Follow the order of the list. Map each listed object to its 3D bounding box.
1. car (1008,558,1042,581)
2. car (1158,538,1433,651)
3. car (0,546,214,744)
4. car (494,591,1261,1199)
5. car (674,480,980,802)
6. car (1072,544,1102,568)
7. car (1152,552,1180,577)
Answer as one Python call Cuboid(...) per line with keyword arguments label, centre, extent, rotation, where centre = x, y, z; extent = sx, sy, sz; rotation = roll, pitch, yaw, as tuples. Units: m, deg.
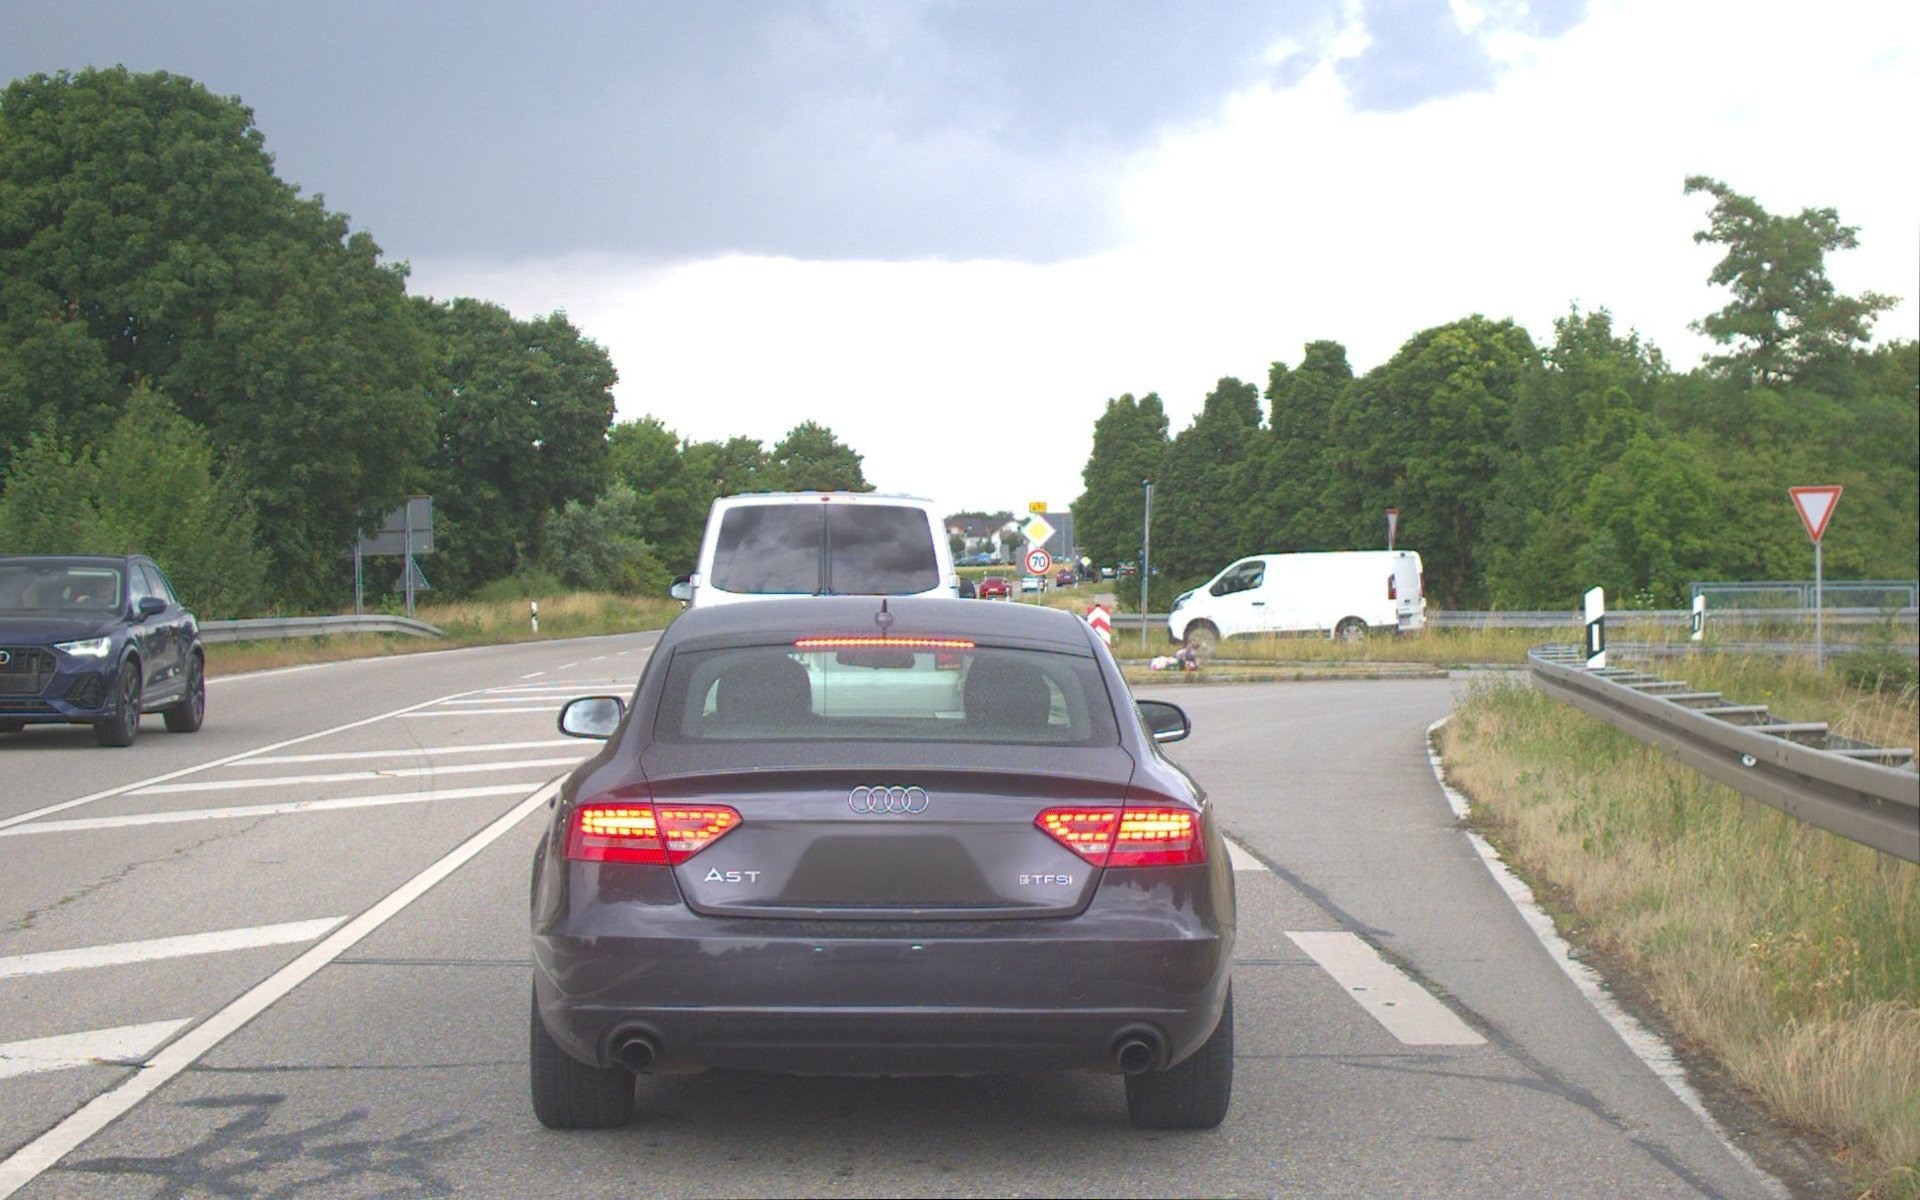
Cuboid(label="car", centre=(4.546, -2.141, 241.071), extent=(2.205, 1.577, 4.379), rotation=(1, 1, -2))
Cuboid(label="car", centre=(6.488, -0.131, 66.580), extent=(4.867, 2.057, 2.085), rotation=(1, 1, 27))
Cuboid(label="car", centre=(-7.556, 0.321, 29.006), extent=(1.709, 1.513, 4.210), rotation=(1, 1, -2))
Cuboid(label="car", centre=(-0.254, 0.691, 9.662), extent=(1.779, 1.394, 3.337), rotation=(0, 1, -2))
Cuboid(label="car", centre=(-0.904, 0.223, 23.662), extent=(1.910, 2.007, 4.001), rotation=(1, 1, -2))
Cuboid(label="car", centre=(9.025, -3.147, 244.215), extent=(1.993, 1.686, 4.000), rotation=(1, 1, 1))
Cuboid(label="car", centre=(14.225, -2.453, 237.106), extent=(1.876, 1.686, 4.000), rotation=(1, 1, 4))
